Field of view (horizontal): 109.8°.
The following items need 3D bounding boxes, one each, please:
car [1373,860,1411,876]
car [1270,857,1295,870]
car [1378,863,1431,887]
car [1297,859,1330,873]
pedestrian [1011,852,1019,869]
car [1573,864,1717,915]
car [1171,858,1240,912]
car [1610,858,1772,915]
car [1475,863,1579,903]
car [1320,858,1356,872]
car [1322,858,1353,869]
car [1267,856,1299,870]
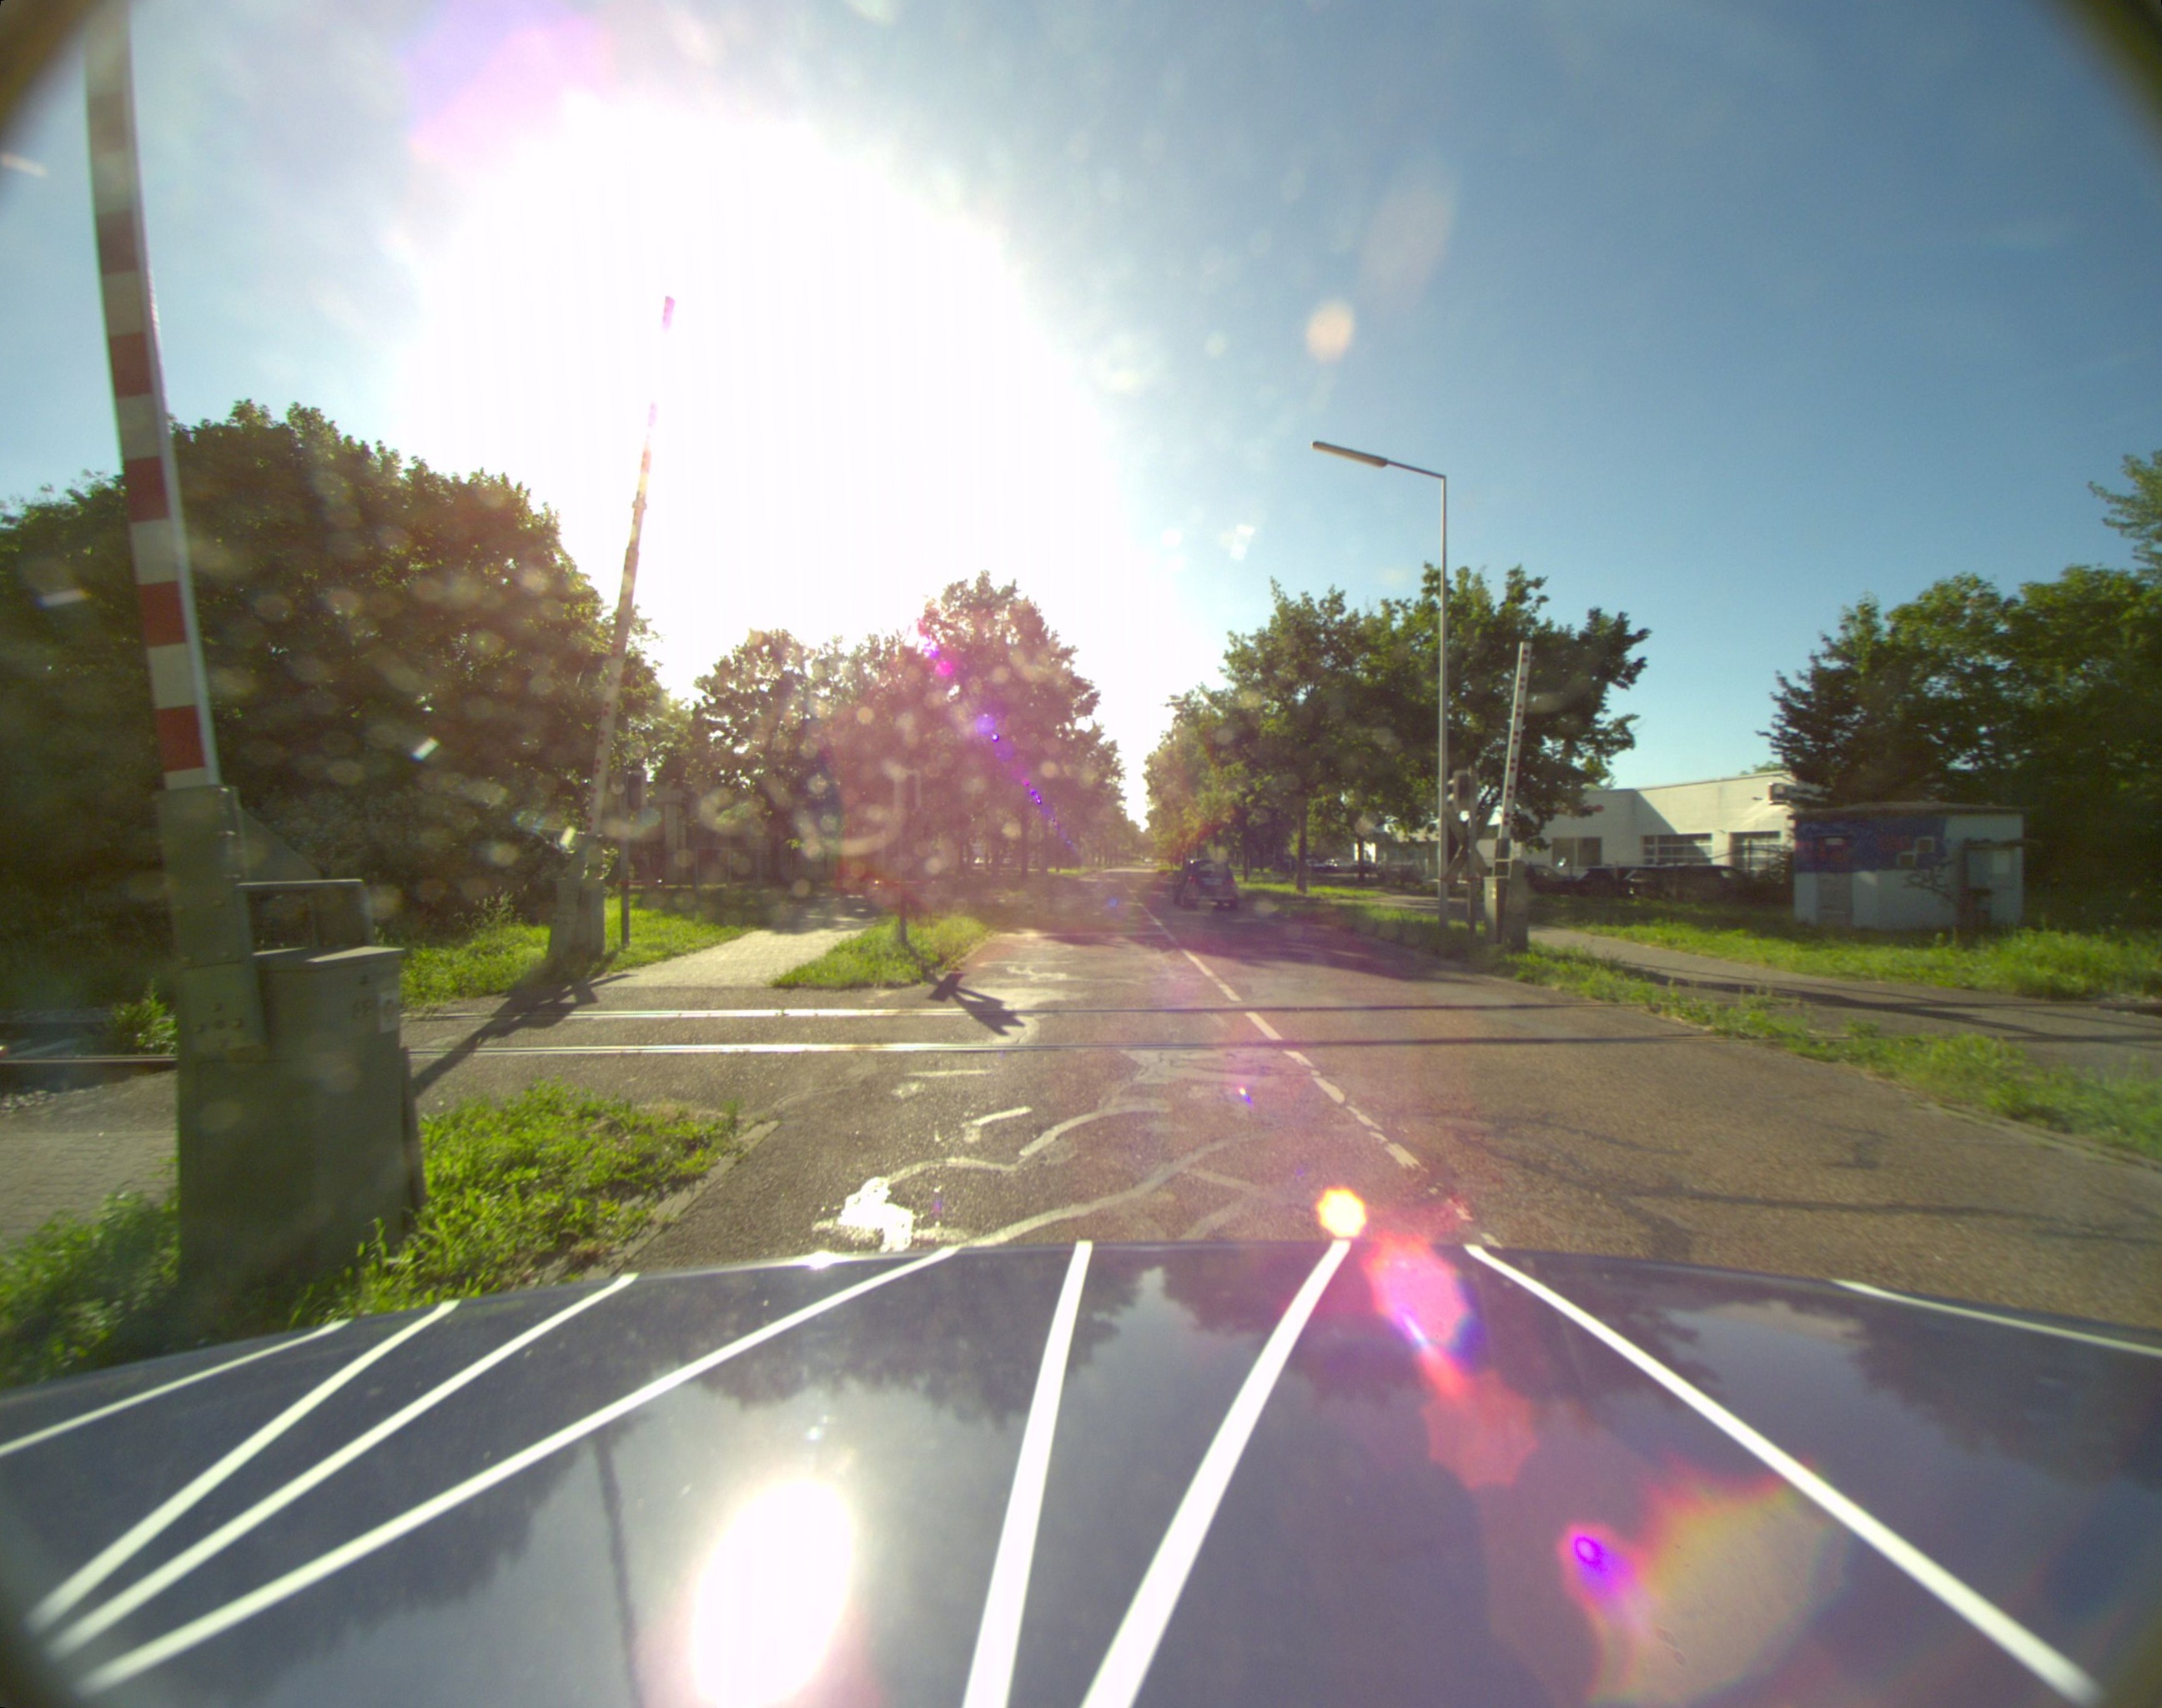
[{"bbox_3d":[33.312,1.493,81.341,1.994,1.650,5.271,-2,-2,43],"label":"car"},{"bbox_3d":[22.993,1.077,86.659,2.569,1.461,1.428,0,0,21],"label":"car"},{"bbox_3d":[23.957,1.515,56.442,1.998,1.588,5.016,-2,0,3],"label":"car"},{"bbox_3d":[29.173,1.489,95.477,2.000,1.665,4.495,-2,0,-11],"label":"car"},{"bbox_3d":[-6.568,0.648,75.222,0.609,1.621,0.719,2,0,5],"label":"pedestrian"},{"bbox_3d":[22.170,1.355,30.004,4.201,1.791,2.000,-2,0,-1],"label":"car"},{"bbox_3d":[3.772,0.892,23.588,1.569,1.496,4.000,1,0,1],"label":"car"},{"bbox_3d":[21.706,1.121,27.168,4.201,1.791,2.000,-2,0,-1],"label":"car"},{"bbox_3d":[22.128,1.413,37.797,3.998,1.791,1.999,-2,0,-3],"label":"car"},{"bbox_3d":[32.163,1.371,95.408,2.000,1.707,5.255,-2,0,-9],"label":"car"},{"bbox_3d":[38.341,1.363,113.570,3.995,1.510,1.752,-2,0,7],"label":"car"},{"bbox_3d":[27.222,1.249,102.405,3.994,1.732,2.001,-2,0,8],"label":"car"}]
